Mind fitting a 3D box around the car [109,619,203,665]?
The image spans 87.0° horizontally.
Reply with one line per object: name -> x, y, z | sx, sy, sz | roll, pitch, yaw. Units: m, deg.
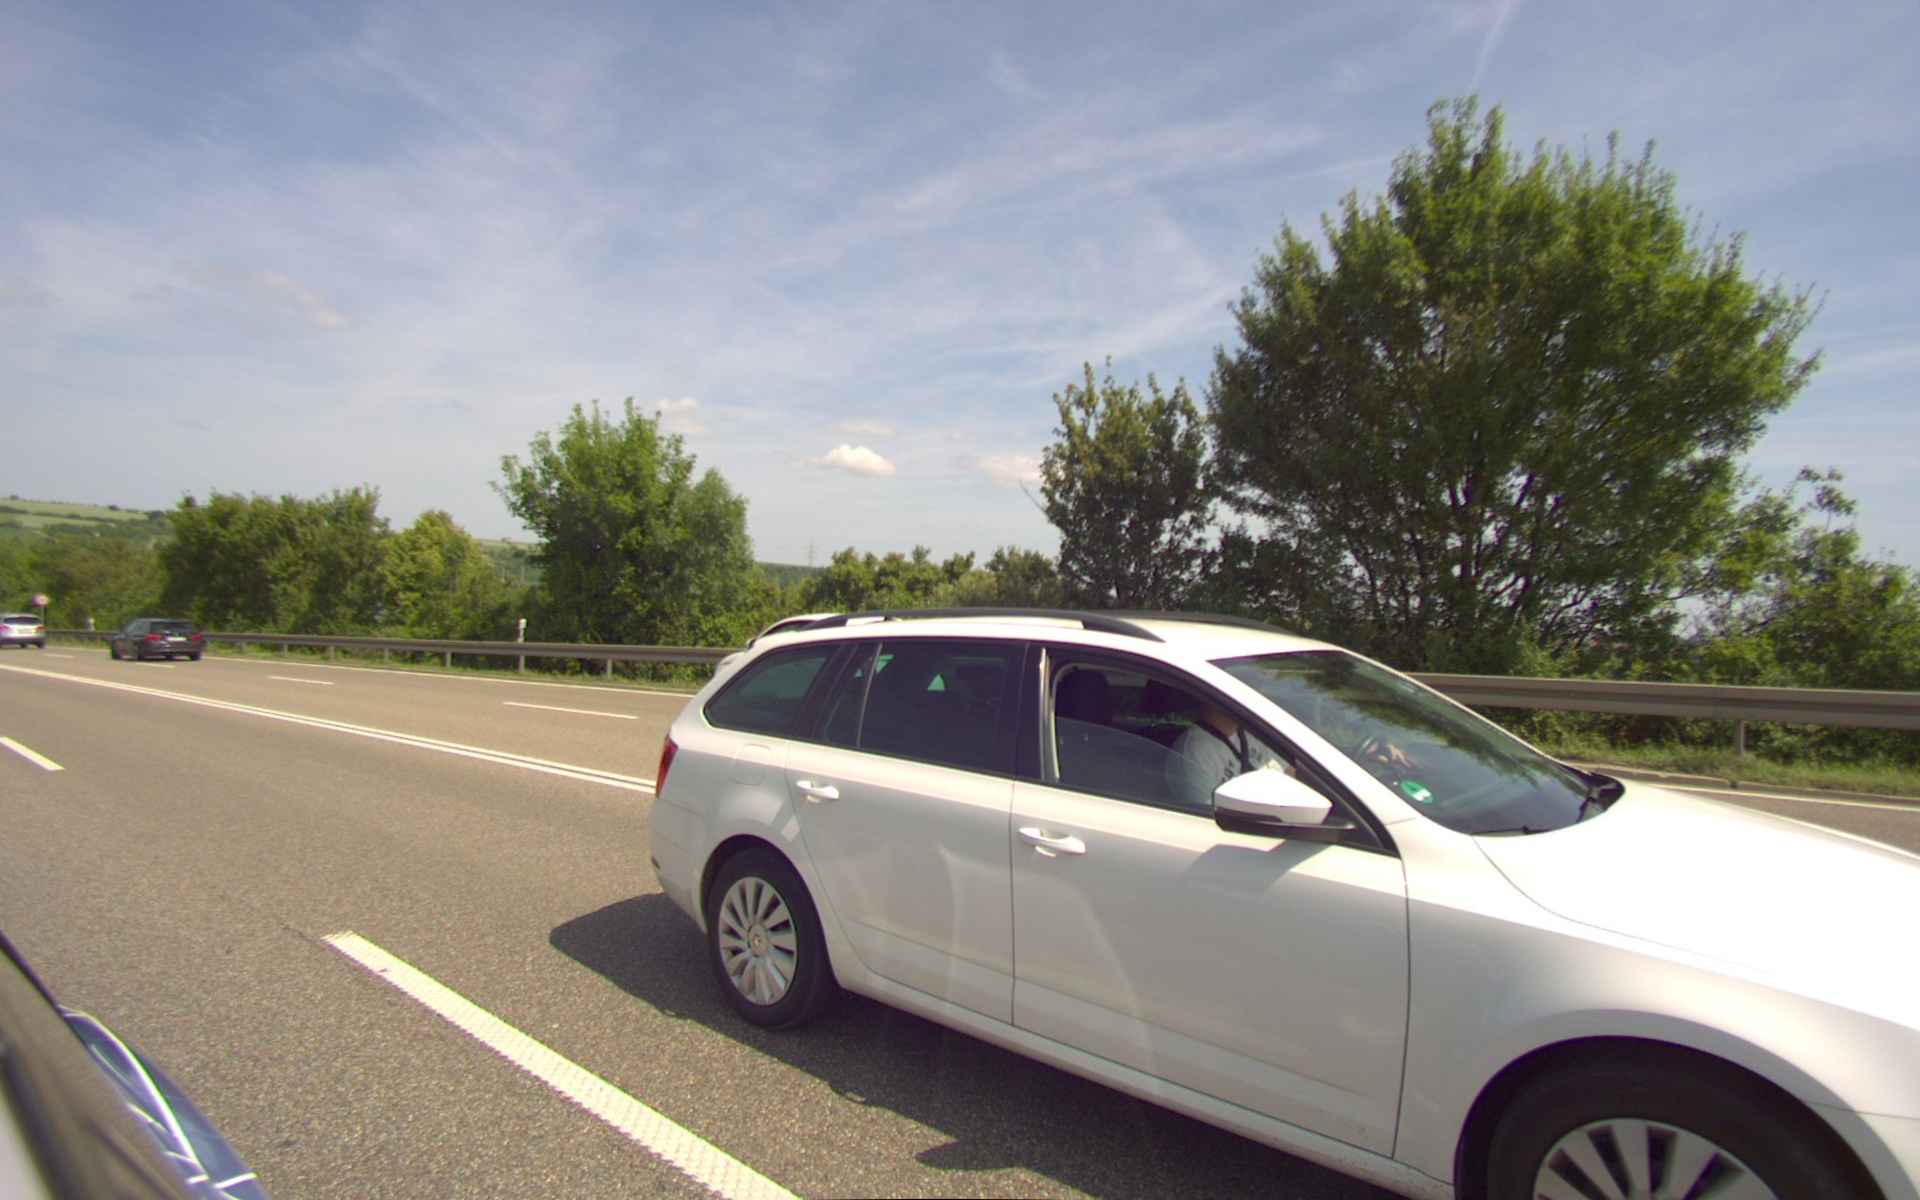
car -> -27.733, 1.413, 34.876 | 4.211, 1.472, 1.700 | -1, -2, 40

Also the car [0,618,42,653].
car -> -45.479, 1.655, 48.126 | 4.675, 1.580, 1.796 | -1, -2, 36

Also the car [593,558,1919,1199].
car -> 0.886, 0.709, 3.307 | 4.785, 1.483, 1.802 | -1, -1, 40

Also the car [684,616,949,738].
car -> -2.075, 0.967, 14.058 | 3.733, 1.468, 1.640 | -1, -2, 42
